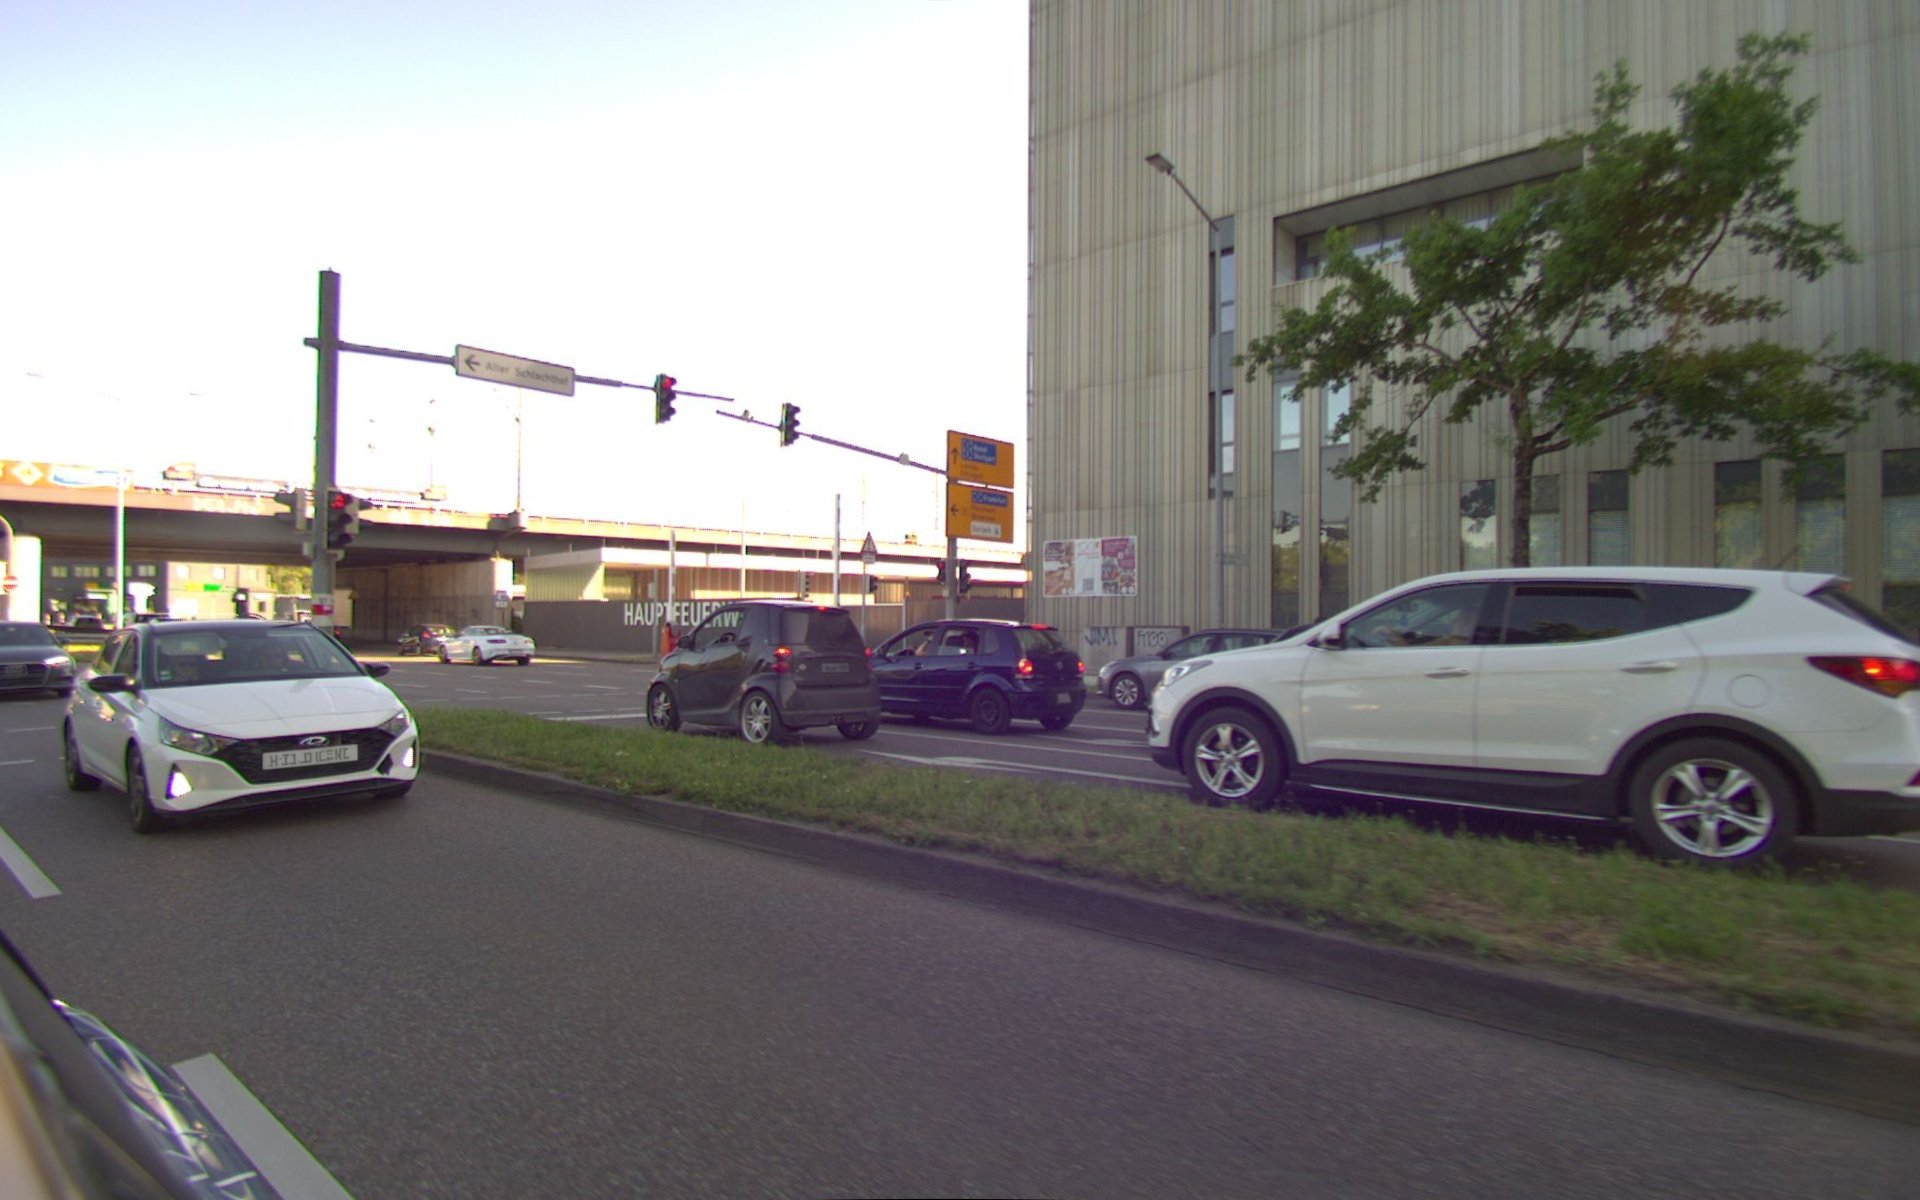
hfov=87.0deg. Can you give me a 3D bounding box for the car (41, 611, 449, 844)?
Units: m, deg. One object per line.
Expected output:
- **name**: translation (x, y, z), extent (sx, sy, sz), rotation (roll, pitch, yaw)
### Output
- **car**: translation (-5.941, 0.824, 8.224), extent (4.071, 1.419, 1.760), rotation (-1, -1, 40)

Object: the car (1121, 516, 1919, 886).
- **car**: translation (3.536, 0.524, 6.608), extent (4.656, 1.695, 1.805), rotation (-1, -3, 41)

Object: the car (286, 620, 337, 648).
- **car**: translation (-37.041, 1.922, 57.757), extent (3.425, 1.544, 1.550), rotation (-1, -2, 41)

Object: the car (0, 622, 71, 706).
- **car**: translation (-17.937, 1.122, 18.692), extent (4.362, 1.415, 1.680), rotation (-1, -1, 41)

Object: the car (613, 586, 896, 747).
- **car**: translation (-2.435, 0.708, 11.693), extent (3.212, 1.592, 1.584), rotation (-1, -3, 42)

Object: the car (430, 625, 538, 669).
- **car**: translation (-17.290, 1.658, 36.635), extent (4.878, 1.452, 1.685), rotation (-1, -3, 41)

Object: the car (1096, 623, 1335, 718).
- **car**: translation (4.389, 1.154, 17.648), extent (3.727, 1.474, 1.592), rotation (-1, -2, 38)

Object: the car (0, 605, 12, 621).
- **car**: translation (-100.468, 1.374, 104.400), extent (1.724, 1.667, 3.844), rotation (0, 0, 45)

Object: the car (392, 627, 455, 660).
- **car**: translation (-24.568, 1.958, 46.267), extent (1.473, 1.422, 3.941), rotation (2, -2, -44)

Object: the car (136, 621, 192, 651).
- **car**: translation (-42.804, 1.913, 54.398), extent (3.999, 1.552, 1.610), rotation (-1, -4, 42)

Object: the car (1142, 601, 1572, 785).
- **car**: translation (3.794, 0.816, 9.996), extent (3.638, 1.481, 1.603), rotation (-1, -3, 41)

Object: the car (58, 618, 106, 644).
- **car**: translation (-56.375, 1.975, 64.986), extent (3.998, 1.552, 1.705), rotation (-1, -3, 41)

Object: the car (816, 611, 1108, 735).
- **car**: translation (-0.048, 0.921, 13.697), extent (3.750, 1.452, 1.685), rotation (-1, -3, 39)
